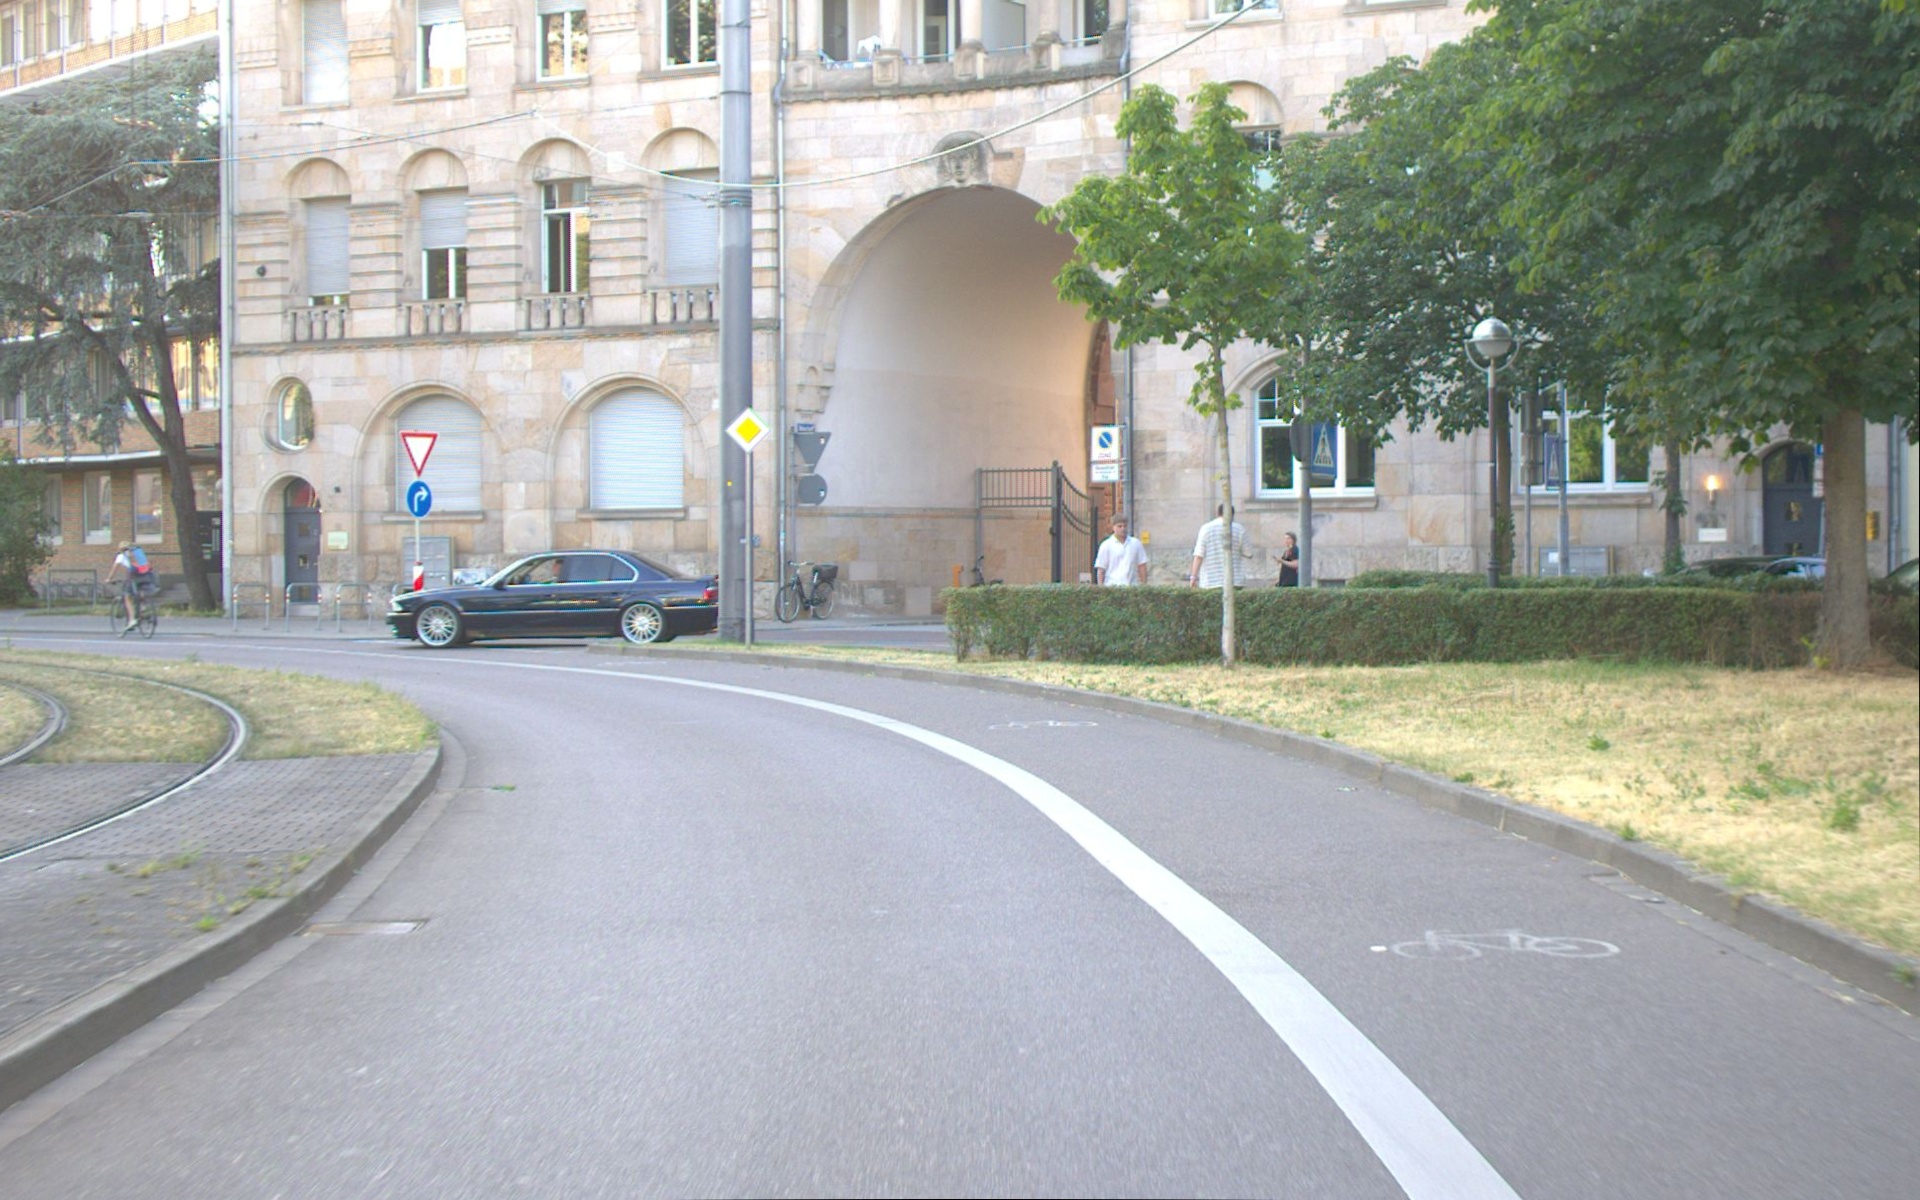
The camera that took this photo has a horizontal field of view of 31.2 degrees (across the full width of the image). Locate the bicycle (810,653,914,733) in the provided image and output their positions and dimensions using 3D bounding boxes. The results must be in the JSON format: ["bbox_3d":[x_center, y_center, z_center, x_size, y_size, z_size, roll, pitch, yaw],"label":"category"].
[{"bbox_3d":[-1.792,1.701,63.390,0.623,1.402,2.406,0,0,35],"label":"bicycle"}]

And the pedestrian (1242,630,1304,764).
[{"bbox_3d":[3.562,1.095,39.071,0.633,1.506,0.687,0,0,11],"label":"pedestrian"}]

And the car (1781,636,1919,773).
[{"bbox_3d":[11.113,1.102,37.583,4.317,1.421,1.861,0,-1,-38],"label":"car"}]

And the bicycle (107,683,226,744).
[{"bbox_3d":[-13.161,1.875,57.013,2.239,0.975,0.509,0,0,33],"label":"bicycle"}]

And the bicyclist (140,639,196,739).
[{"bbox_3d":[-13.134,1.462,56.991,0.774,1.636,0.509,0,0,33],"label":"bicyclist"}]

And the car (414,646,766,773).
[{"bbox_3d":[-5.243,1.552,49.066,4.754,1.756,1.820,0,0,3],"label":"car"}]

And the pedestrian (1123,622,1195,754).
[{"bbox_3d":[2.313,1.013,39.902,0.593,1.506,0.686,0,0,29],"label":"pedestrian"}]

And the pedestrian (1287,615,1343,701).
[{"bbox_3d":[5.726,0.929,55.422,0.686,1.364,0.634,0,0,31],"label":"pedestrian"}]
